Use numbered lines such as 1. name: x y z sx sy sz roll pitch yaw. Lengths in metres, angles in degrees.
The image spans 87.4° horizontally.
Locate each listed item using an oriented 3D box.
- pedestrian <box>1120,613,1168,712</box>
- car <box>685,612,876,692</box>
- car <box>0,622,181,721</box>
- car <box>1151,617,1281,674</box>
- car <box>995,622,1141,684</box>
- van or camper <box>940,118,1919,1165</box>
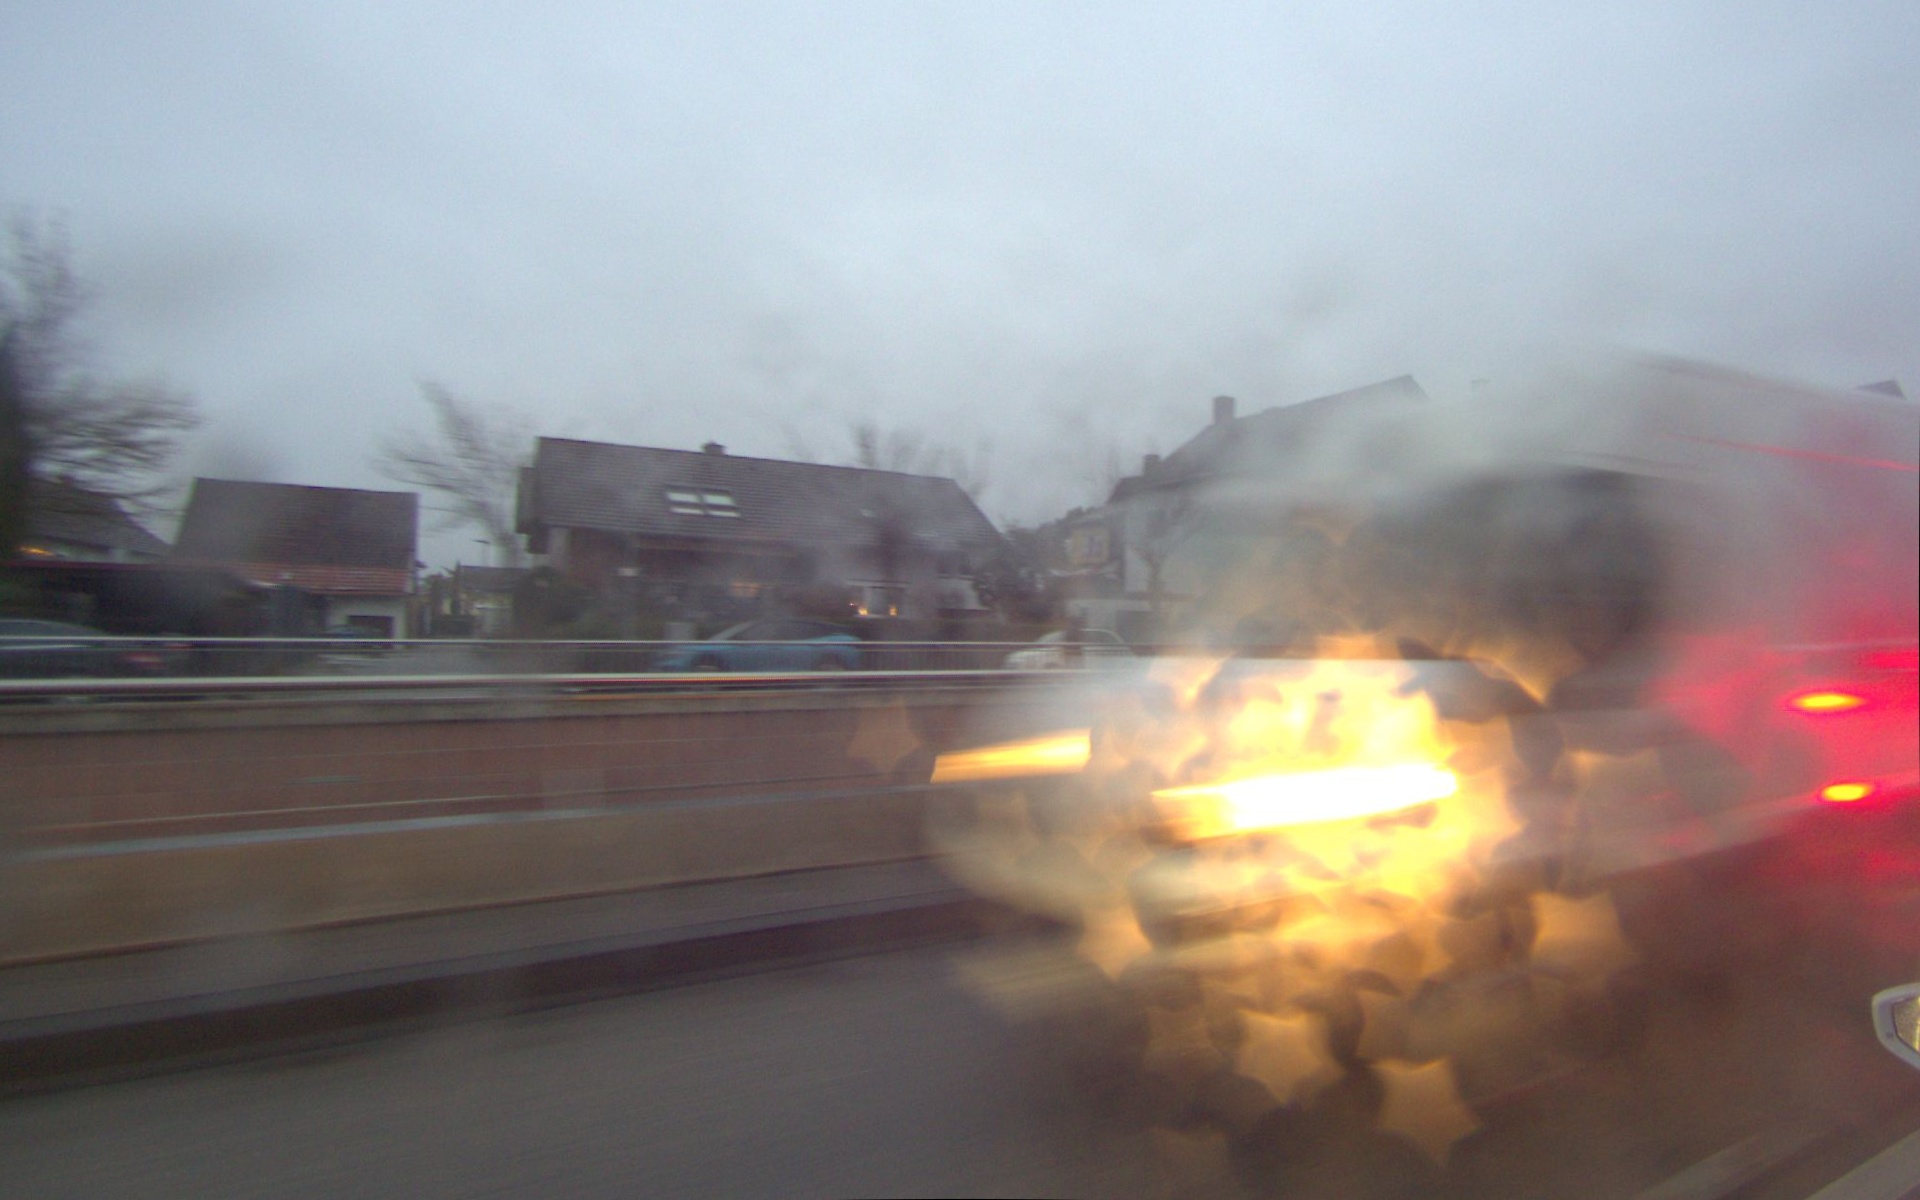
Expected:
1. pedestrian: 3.299 1.105 18.059 0.534 1.720 0.661 1 0 -25
2. car: -3.864 1.135 21.799 3.779 1.601 1.556 2 -3 -32
3. car: -14.860 1.087 15.348 4.452 1.452 1.864 1 -3 -32
4. car: 8.193 1.449 32.456 1.842 1.716 3.970 1 -2 -29
5. car: 2.738 1.335 25.369 3.416 1.446 1.476 2 -1 -28
6. van or camper: 3.269 0.180 5.147 6.474 2.704 2.231 1 -2 -29
